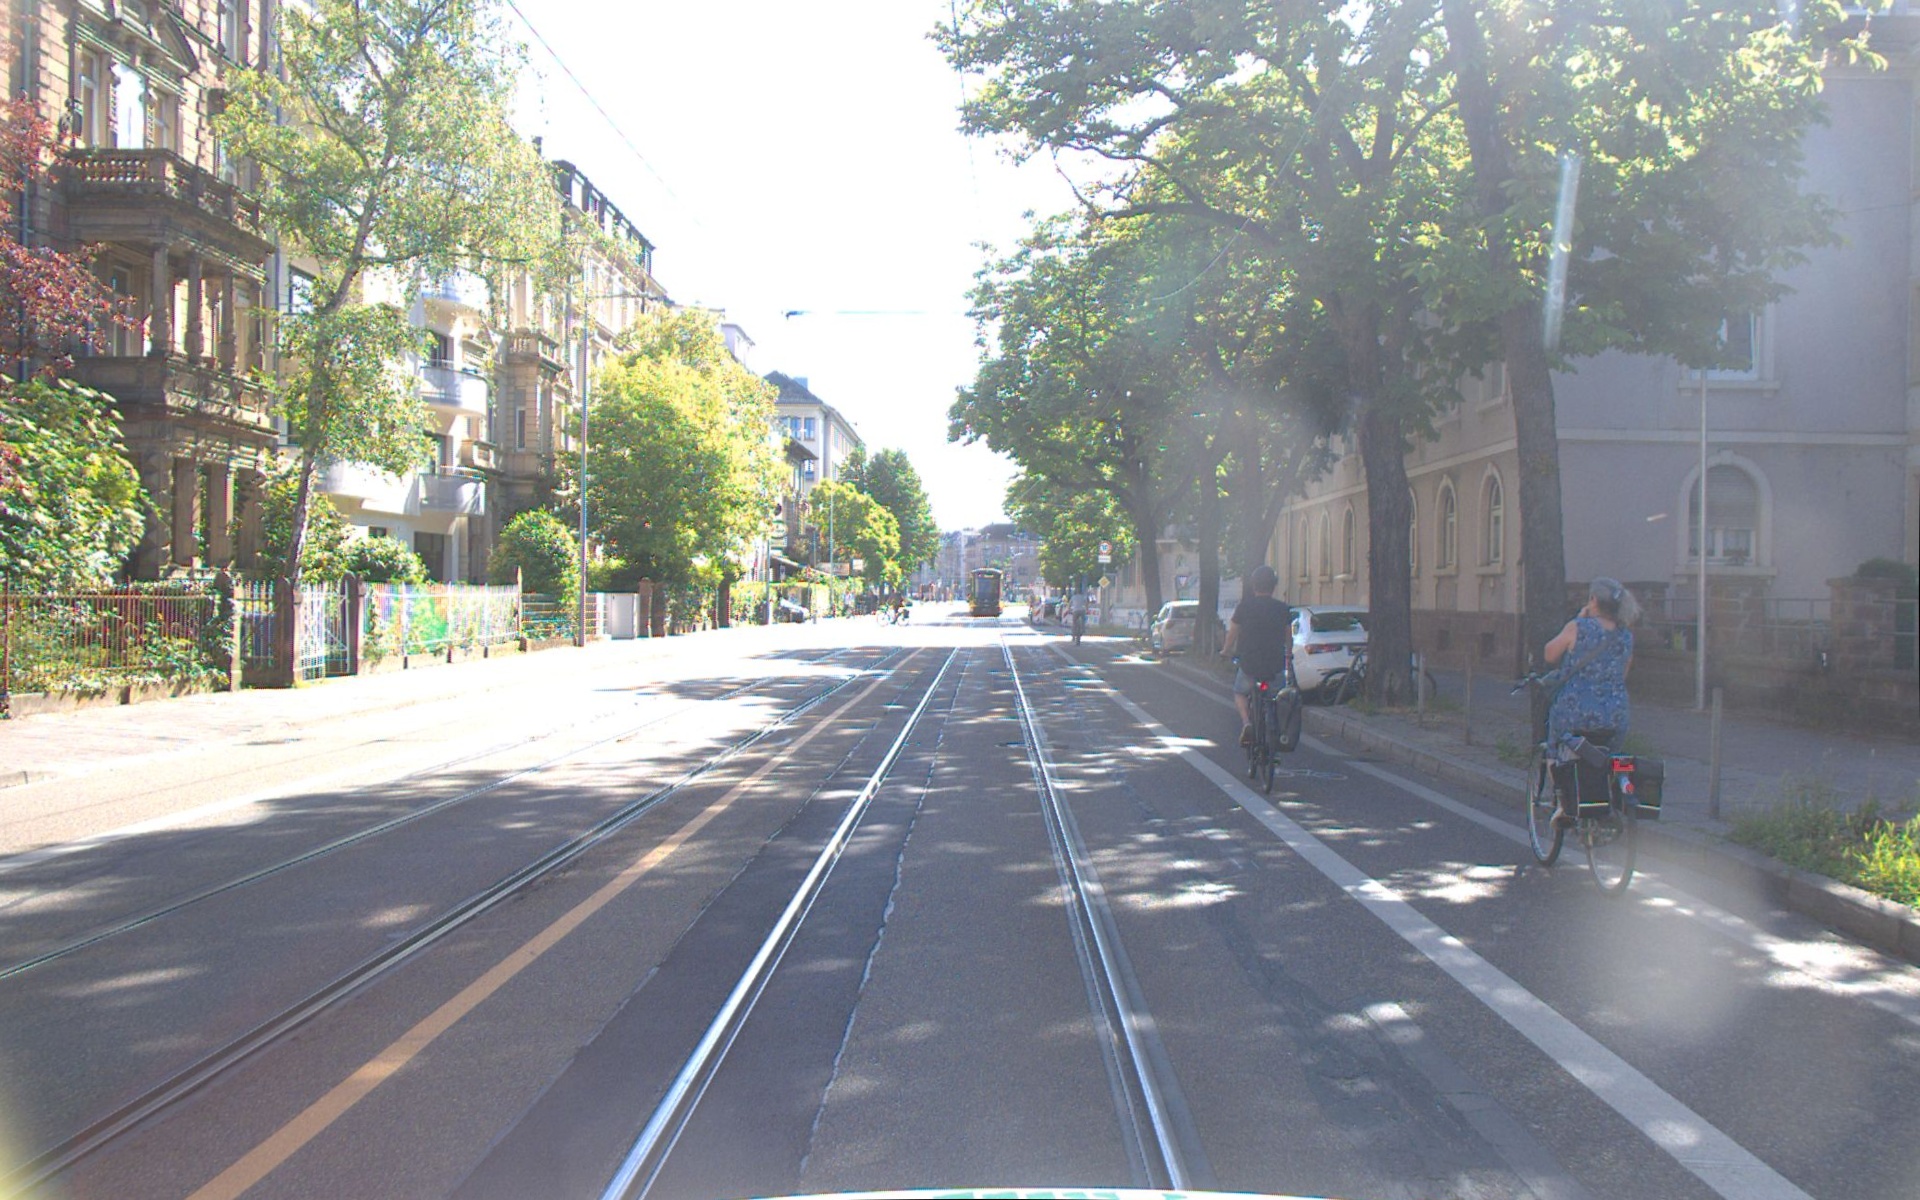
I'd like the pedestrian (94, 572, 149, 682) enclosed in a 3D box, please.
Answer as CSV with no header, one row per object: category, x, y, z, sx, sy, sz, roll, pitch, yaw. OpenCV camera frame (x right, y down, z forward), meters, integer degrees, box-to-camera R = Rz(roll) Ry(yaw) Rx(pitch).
pedestrian,-13.327,0.420,26.295,0.503,1.702,0.607,2,0,0

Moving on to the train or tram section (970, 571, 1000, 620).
train or tram section,1.903,-0.350,124.550,2.109,3.491,6.612,2,0,1

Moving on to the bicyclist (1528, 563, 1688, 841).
bicyclist,3.624,0.553,9.293,0.622,1.493,0.616,2,0,1

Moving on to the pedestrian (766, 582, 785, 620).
pedestrian,-8.808,0.048,78.850,0.754,1.742,0.669,2,0,1

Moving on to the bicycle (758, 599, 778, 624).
bicycle,-8.811,0.531,75.930,0.622,1.088,1.824,2,0,-16

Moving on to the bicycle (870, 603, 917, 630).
bicycle,-3.188,0.773,79.121,2.094,1.191,0.803,2,0,16

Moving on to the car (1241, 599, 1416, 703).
car,5.745,0.739,26.334,1.595,1.461,4.663,0,0,-2

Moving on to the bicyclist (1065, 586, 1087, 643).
bicyclist,3.825,0.473,54.507,0.632,1.827,0.956,2,0,1

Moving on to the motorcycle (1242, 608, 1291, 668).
motorcycle,6.731,0.815,36.402,0.695,1.265,2.185,0,0,0

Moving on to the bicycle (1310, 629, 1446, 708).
bicycle,5.932,0.971,23.542,1.755,1.037,0.620,-2,0,0

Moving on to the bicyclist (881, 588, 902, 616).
bicyclist,-3.277,0.111,79.127,0.756,1.314,0.734,2,0,17

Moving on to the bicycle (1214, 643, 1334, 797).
bicycle,2.605,0.965,13.874,0.677,1.132,1.719,2,0,1

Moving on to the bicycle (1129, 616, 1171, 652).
bicycle,5.803,1.029,50.491,1.243,1.042,0.704,2,-1,9

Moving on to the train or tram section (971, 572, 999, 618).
train or tram section,1.993,-0.384,131.183,2.109,3.491,6.612,2,0,1

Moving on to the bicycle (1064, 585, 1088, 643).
bicycle,3.865,0.450,55.219,0.649,1.891,2.260,2,0,2

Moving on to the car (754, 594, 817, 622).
car,-9.406,0.448,88.924,1.743,1.445,3.528,1,-2,-39

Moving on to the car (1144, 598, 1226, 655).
car,6.088,0.679,45.057,1.713,1.445,4.000,-1,0,0

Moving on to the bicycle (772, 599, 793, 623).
bicycle,-8.233,0.500,76.629,0.622,1.088,1.823,2,0,-17

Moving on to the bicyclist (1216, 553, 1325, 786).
bicyclist,2.597,0.565,13.895,0.712,1.880,0.837,2,0,0

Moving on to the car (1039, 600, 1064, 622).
car,7.036,0.838,127.781,1.718,1.579,3.677,1,0,1

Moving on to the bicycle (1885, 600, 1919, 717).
bicycle,10.438,0.629,17.591,0.425,1.244,1.373,1,0,1

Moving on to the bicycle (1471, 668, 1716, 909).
bicycle,3.566,1.013,9.501,0.677,1.132,1.917,2,0,1
